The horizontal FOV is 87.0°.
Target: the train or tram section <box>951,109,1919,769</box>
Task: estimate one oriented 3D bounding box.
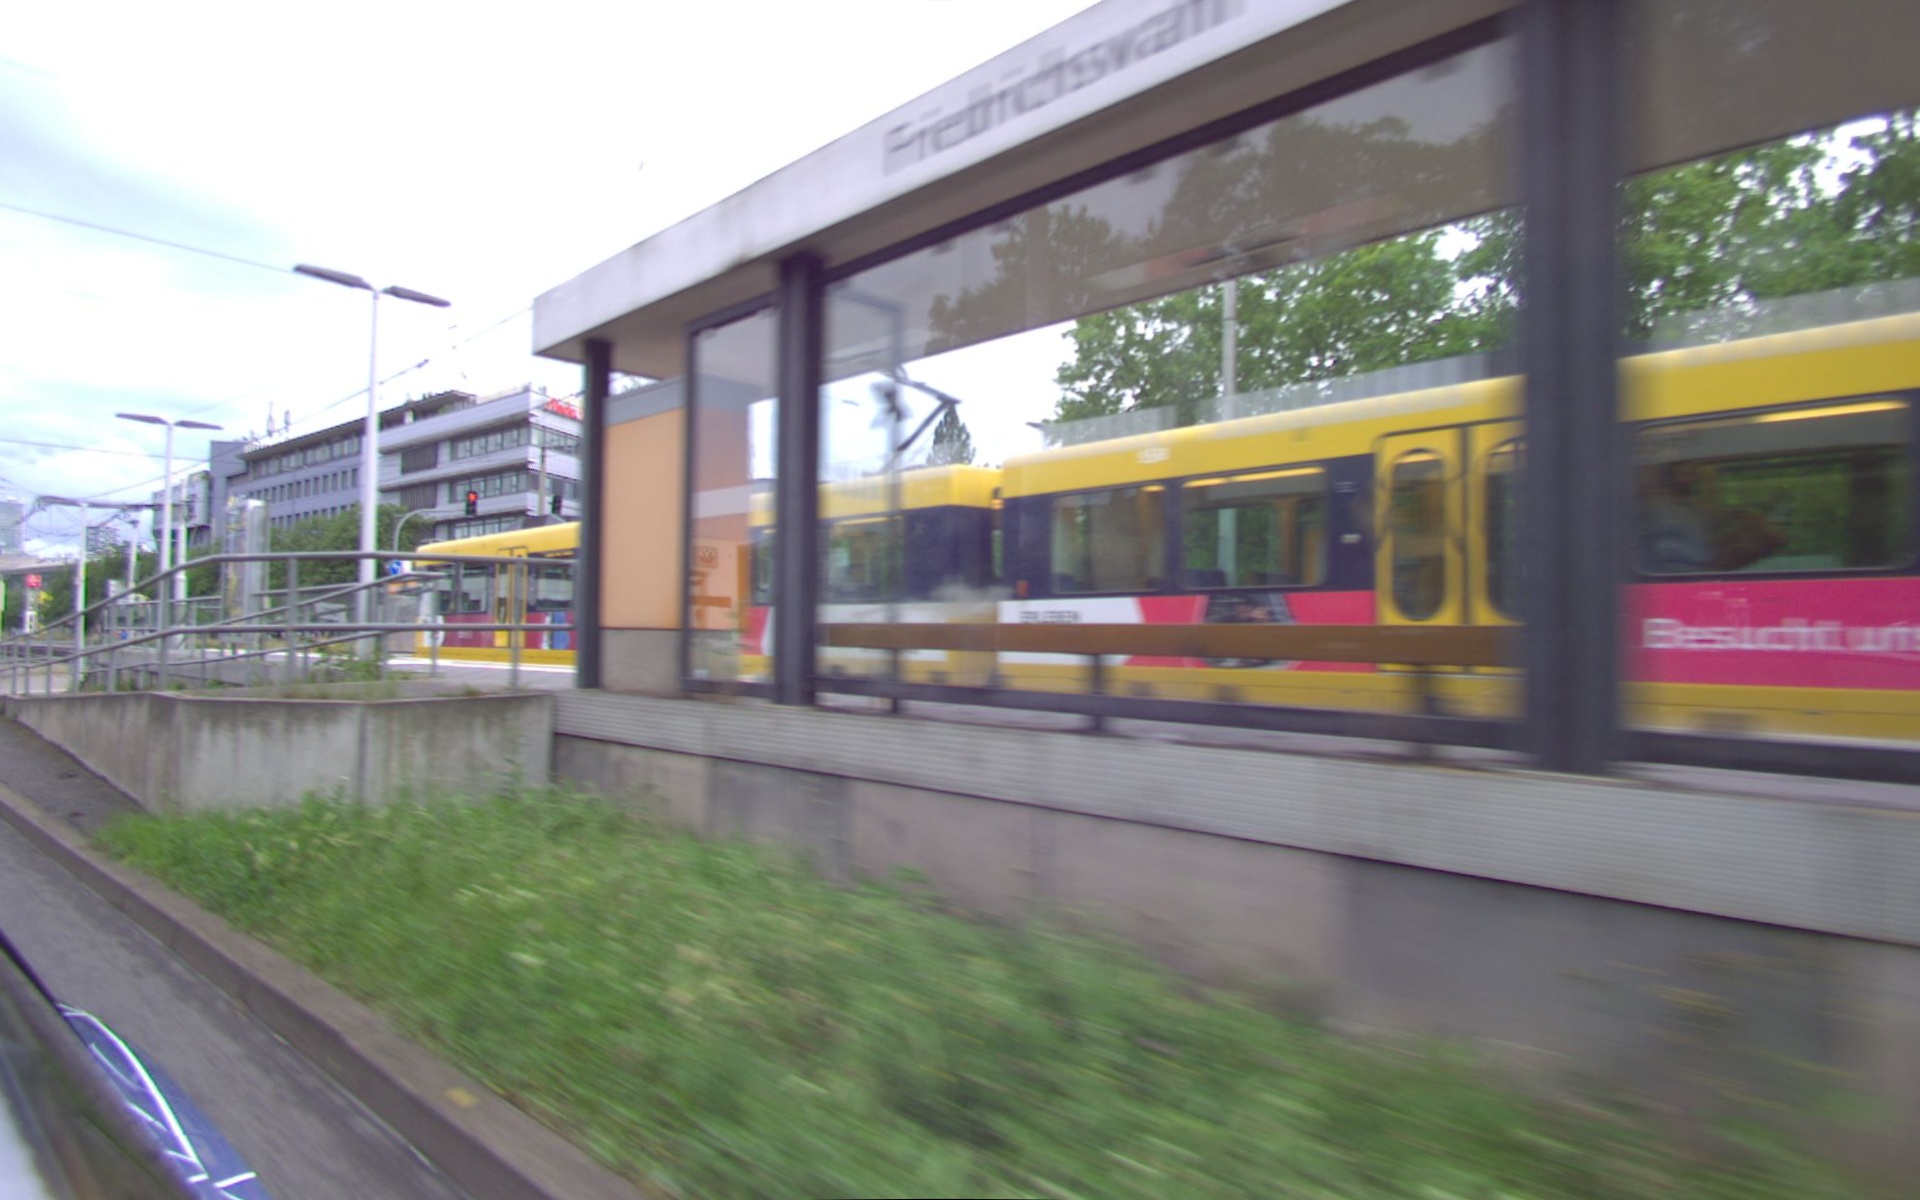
[{"bbox_3d":[7.796,-1.006,6.130,19.338,3.984,2.836,-1,0,45],"label":"train or tram section"}]

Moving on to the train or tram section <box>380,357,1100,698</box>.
[{"bbox_3d":[-6.175,-0.724,19.443,19.327,4.003,2.837,-1,0,42],"label":"train or tram section"}]
